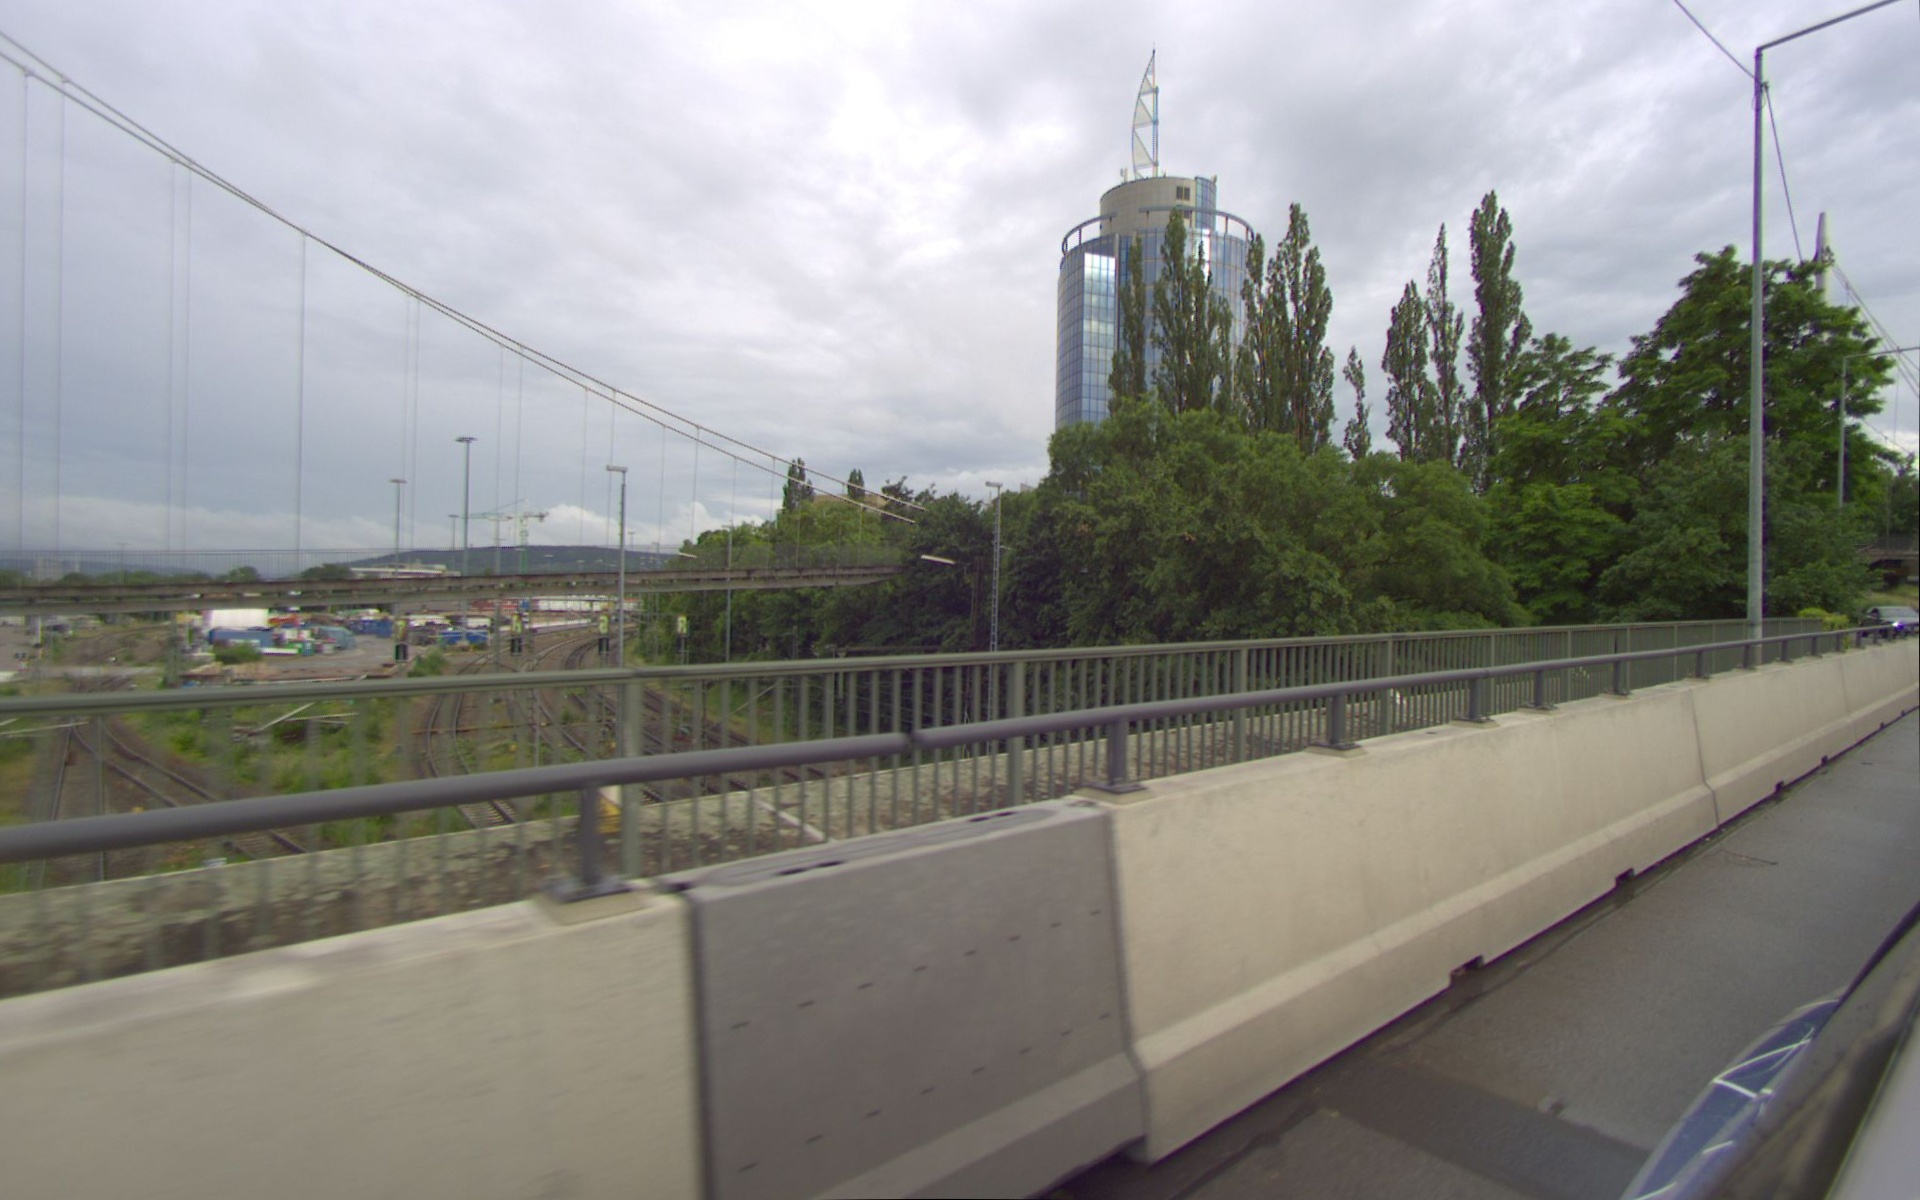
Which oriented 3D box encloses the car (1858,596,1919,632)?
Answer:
[{"bbox_3d":[42.019,0.608,45.082,1.749,1.520,3.970,1,1,22],"label":"car"}]
